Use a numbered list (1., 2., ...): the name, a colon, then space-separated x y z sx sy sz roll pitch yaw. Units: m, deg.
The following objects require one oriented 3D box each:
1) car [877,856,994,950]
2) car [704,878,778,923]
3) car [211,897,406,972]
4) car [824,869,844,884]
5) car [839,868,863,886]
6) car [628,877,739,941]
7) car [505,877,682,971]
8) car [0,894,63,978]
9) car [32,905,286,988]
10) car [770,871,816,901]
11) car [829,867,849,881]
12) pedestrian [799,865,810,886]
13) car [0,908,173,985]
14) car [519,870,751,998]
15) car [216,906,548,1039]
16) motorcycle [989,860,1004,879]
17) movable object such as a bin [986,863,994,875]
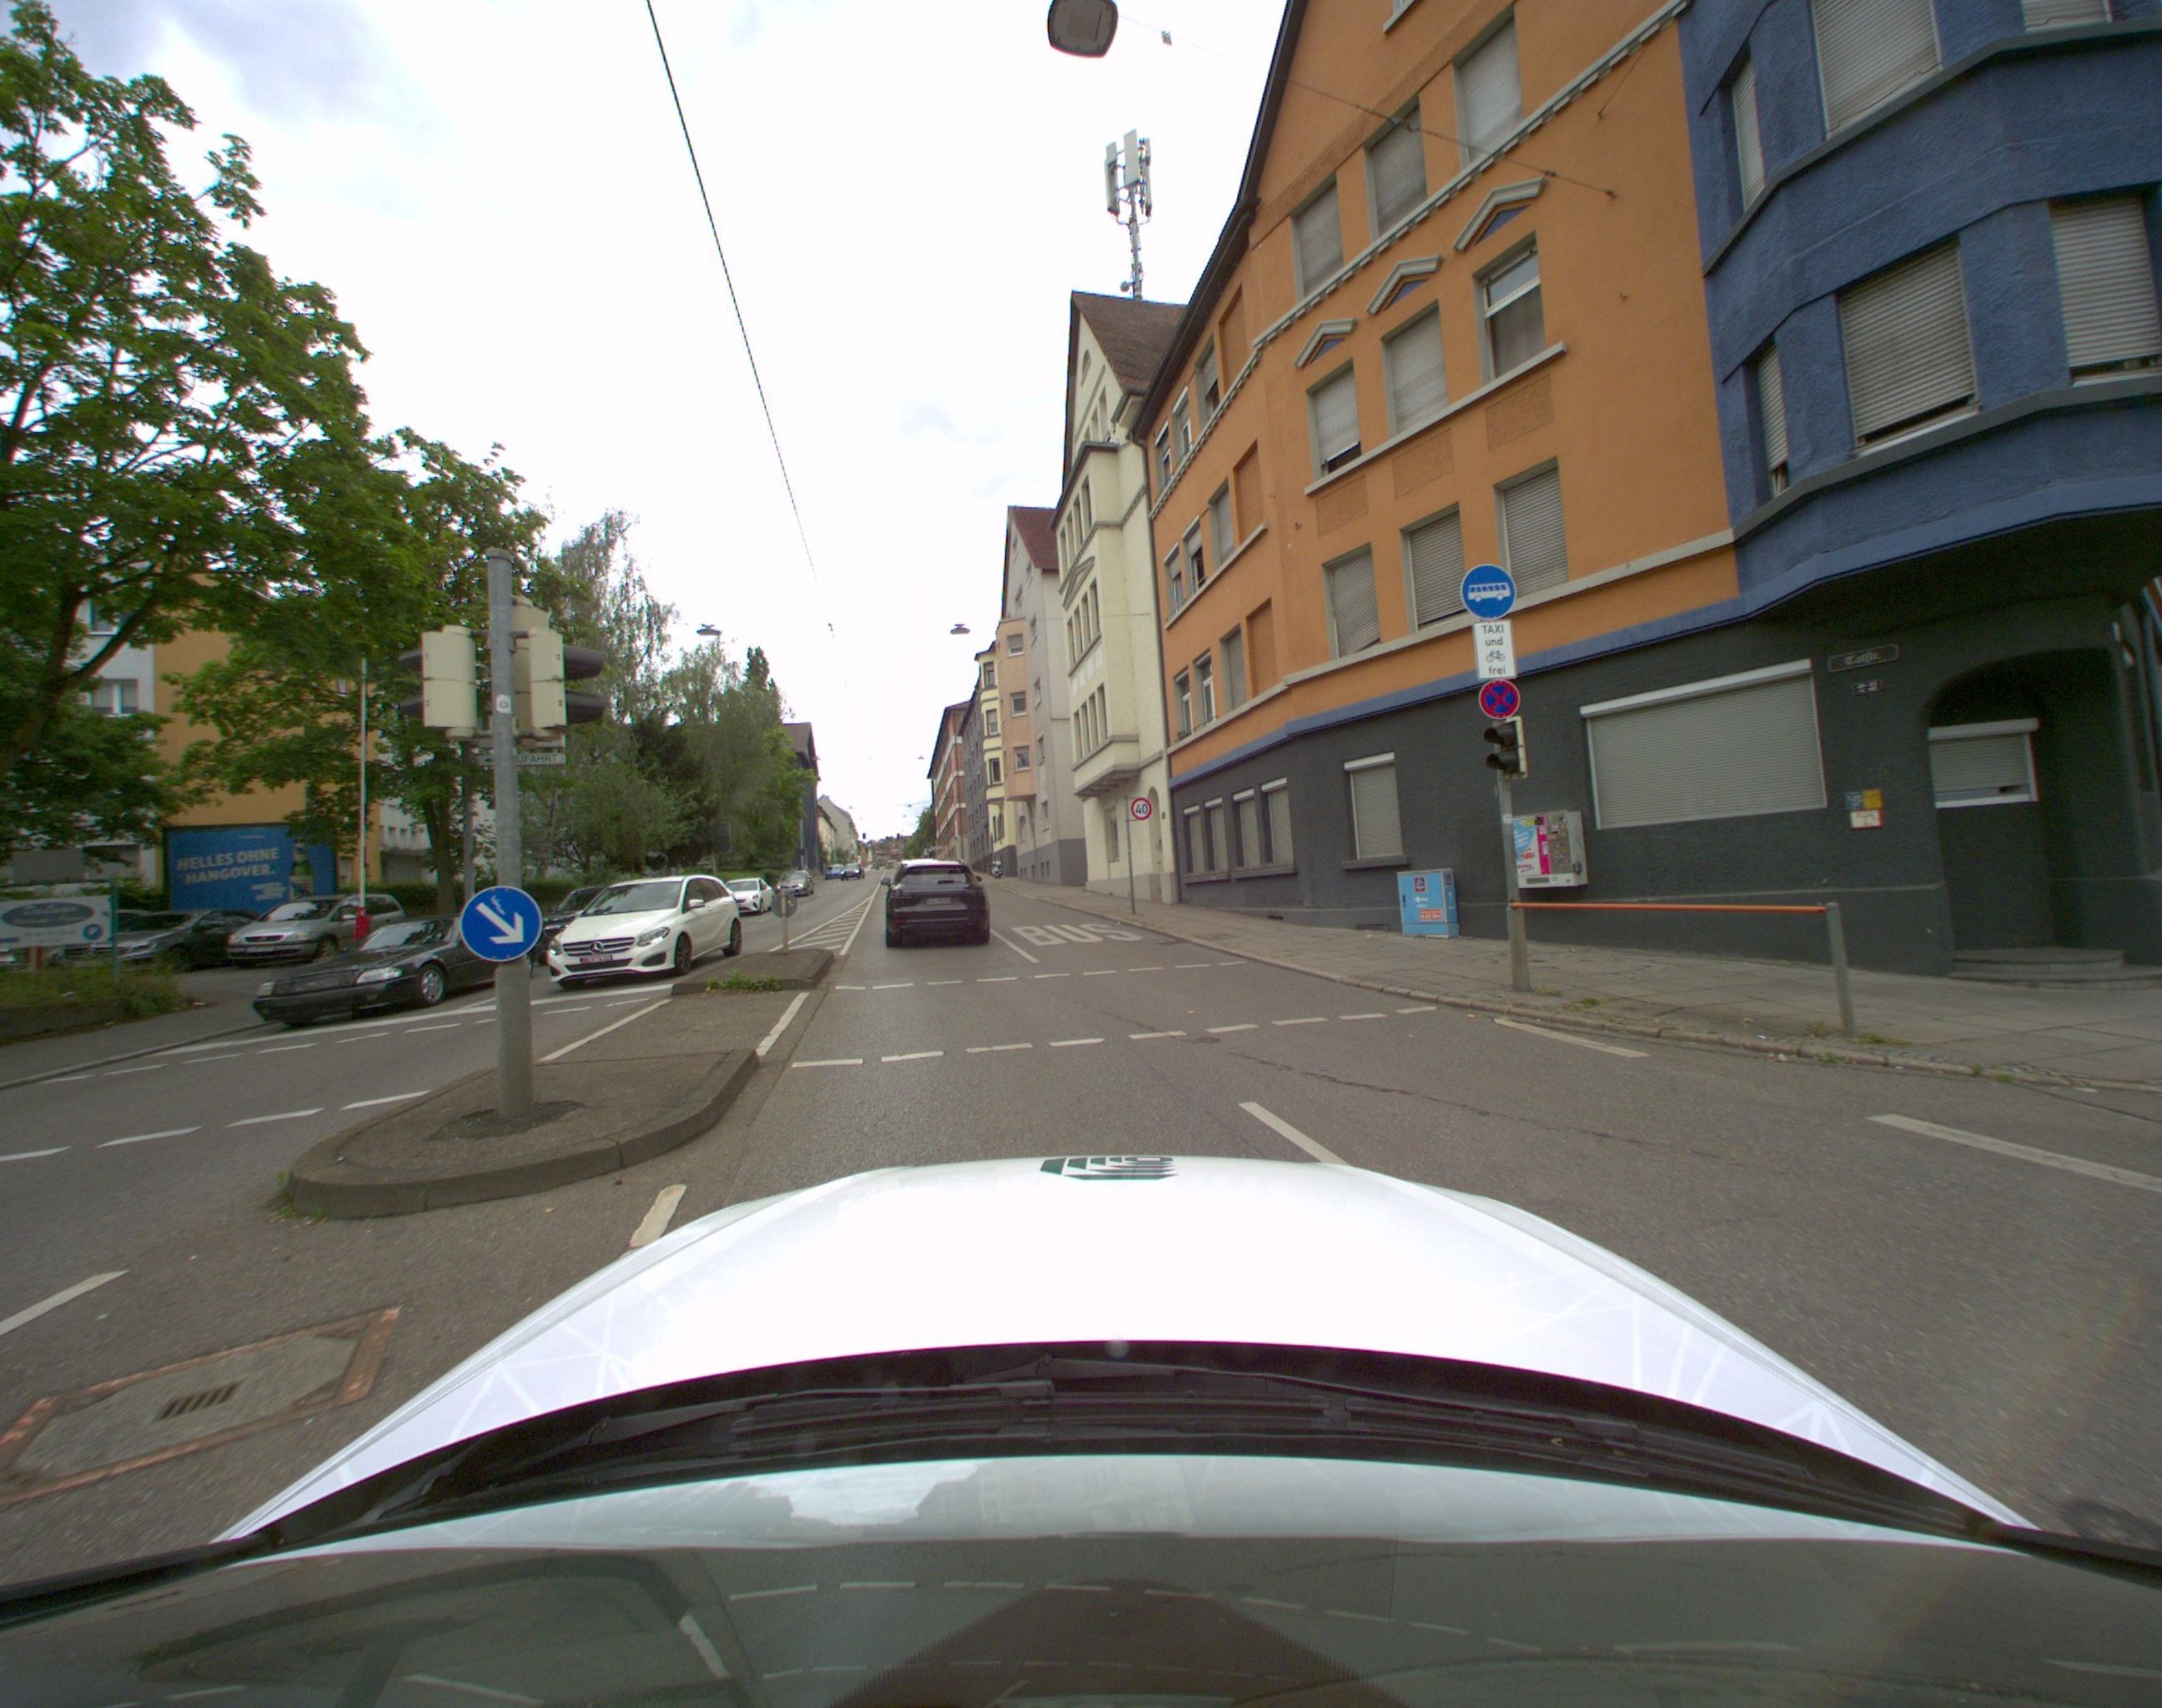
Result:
1. car: -3.149 0.921 16.916 2.027 1.641 4.333 -1 -1 -15
2. car: -13.483 1.792 32.519 1.841 1.412 4.057 -6 0 -12
3. car: -18.886 1.894 20.189 1.709 1.501 3.981 0 -1 -14
4. car: -26.665 2.391 88.045 1.717 1.423 3.971 -5 0 -13
5. car: -21.519 2.139 76.322 1.841 1.448 4.291 -5 0 -13
6. car: -12.677 1.681 26.325 1.952 1.593 4.481 -6 0 -11
7. car: -11.142 1.505 19.048 1.952 1.642 4.398 -6 0 -10
8. car: -25.845 1.916 18.110 1.825 1.902 3.984 0 -1 -12
9. car: -21.062 2.038 18.891 1.707 1.501 3.987 0 -1 -9
10. car: -16.250 1.775 46.111 1.841 1.448 4.291 -5 0 -13
11. car: -27.824 2.318 93.749 1.716 1.456 3.972 -5 0 -12
12. pedestrian: -26.072 2.044 76.747 0.883 1.950 0.863 -1 -1 -14
13. car: -23.683 2.080 18.891 1.712 1.411 3.975 0 -1 -18
14. car: -7.154 1.164 13.658 1.774 1.546 4.315 -6 0 -7
15. car: -10.393 1.657 12.631 1.801 1.281 4.224 -6 0 -8
16. motorcycle: -5.634 1.022 54.191 0.538 1.155 2.214 -6 1 -16
17. movable object such as a bin: -6.815 1.129 60.912 0.475 0.892 0.514 -6 0 -14
